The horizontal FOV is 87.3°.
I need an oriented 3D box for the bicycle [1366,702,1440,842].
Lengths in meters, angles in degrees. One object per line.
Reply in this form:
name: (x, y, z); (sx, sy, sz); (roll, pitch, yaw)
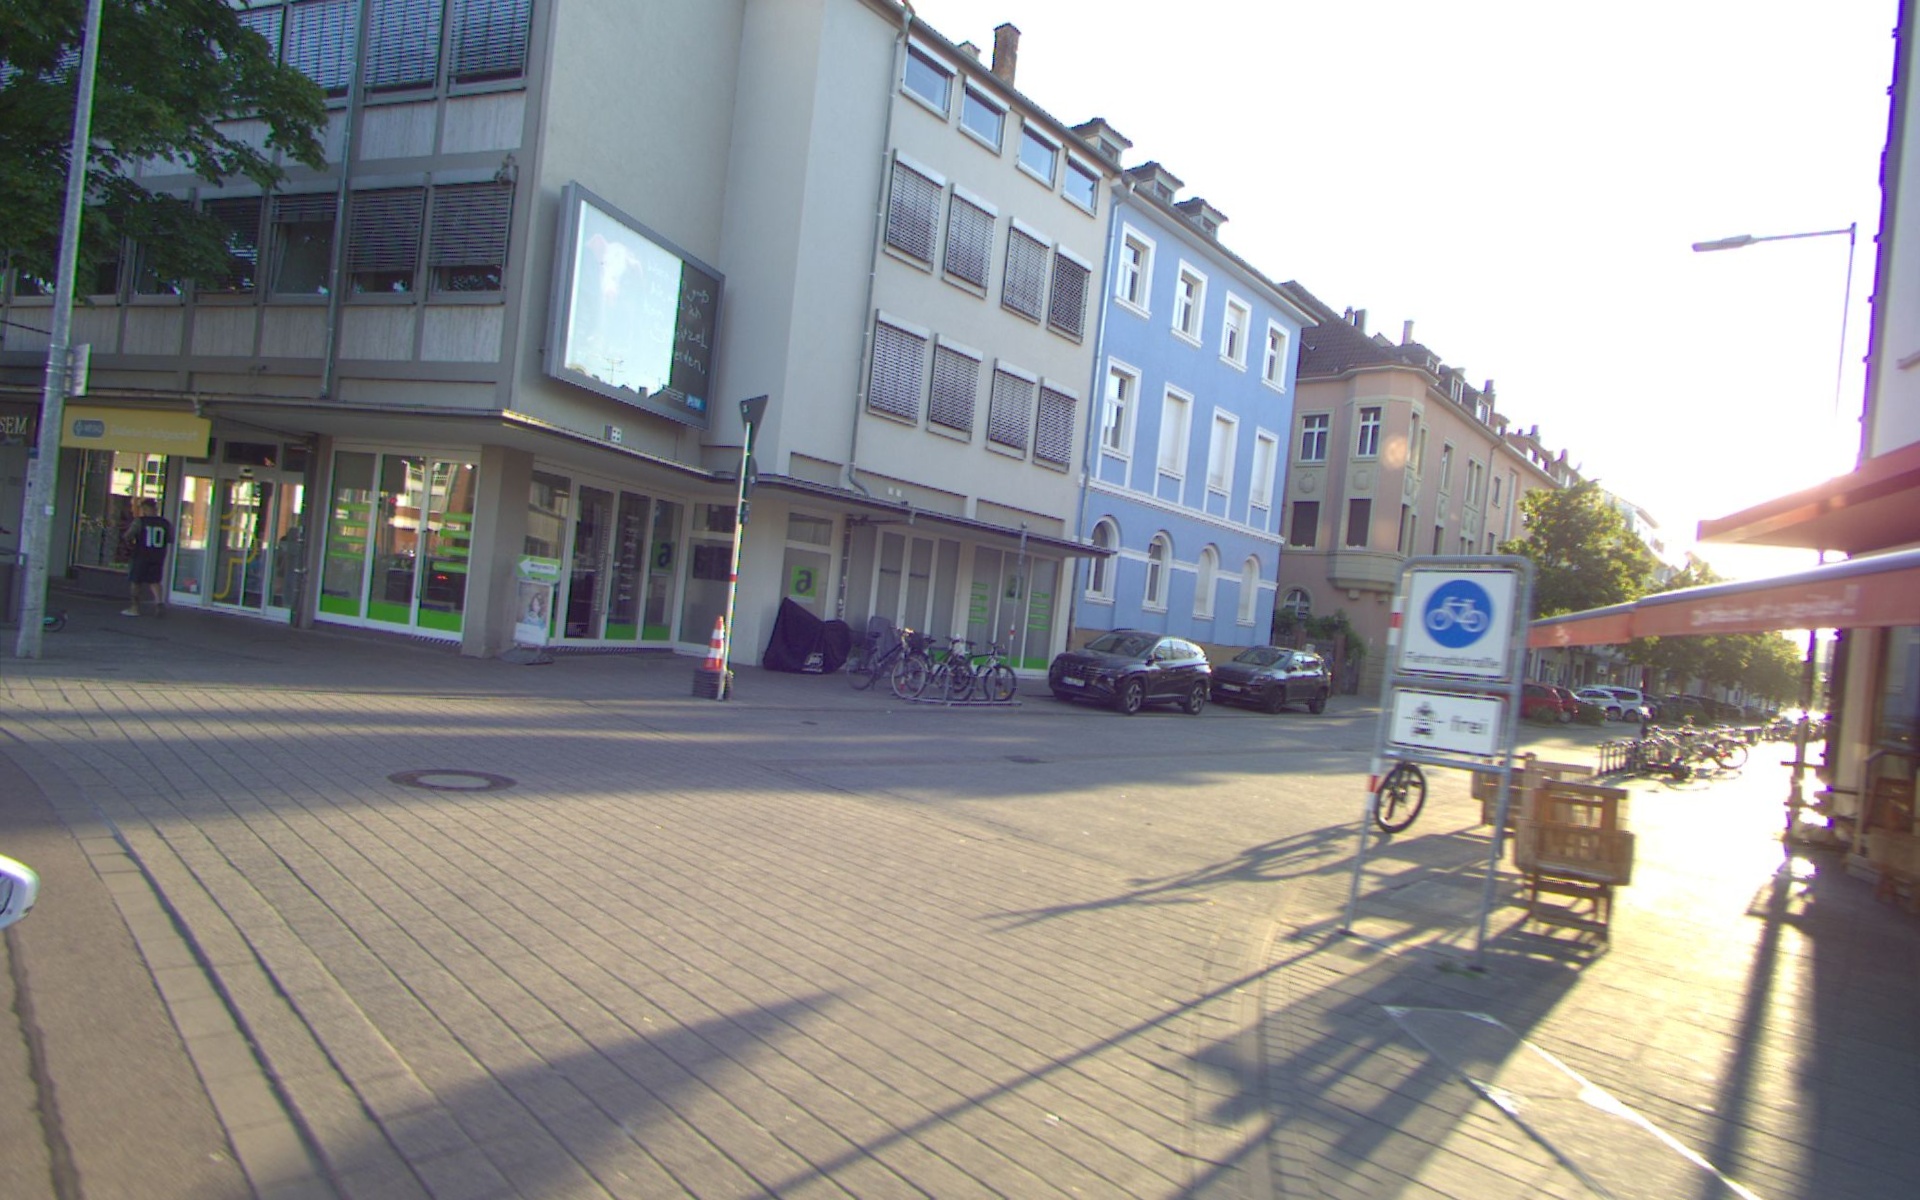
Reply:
bicycle: (4.473, 1.680, 10.213); (0.526, 1.173, 1.910); (6, -1, 23)

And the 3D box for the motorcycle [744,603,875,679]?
motorcycle: (-2.711, 0.765, 18.340); (0.799, 1.182, 2.283); (6, -1, 42)

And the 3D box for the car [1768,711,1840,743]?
car: (43.775, 6.575, 52.203); (1.441, 1.260, 2.655); (9, -3, -44)

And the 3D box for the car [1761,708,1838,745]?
car: (40.447, 6.095, 48.470); (1.441, 1.375, 2.655); (9, -3, -44)

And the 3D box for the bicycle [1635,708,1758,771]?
bicycle: (17.869, 3.367, 24.455); (2.309, 1.158, 0.527); (5, -2, 38)

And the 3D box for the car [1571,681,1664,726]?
car: (37.384, 5.864, 57.313); (3.924, 2.037, 1.848); (6, -2, 16)

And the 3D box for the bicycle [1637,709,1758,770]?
bicycle: (18.224, 3.428, 24.912); (2.309, 1.153, 0.527); (5, -2, 38)

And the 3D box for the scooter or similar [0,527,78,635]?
scooter or similar: (-11.467, -0.250, 12.084); (1.205, 1.232, 0.293); (5, -1, -25)

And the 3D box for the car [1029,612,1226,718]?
car: (3.693, 1.443, 21.559); (1.893, 1.772, 4.417); (9, 0, 43)

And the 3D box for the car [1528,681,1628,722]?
car: (32.446, 5.310, 52.937); (3.924, 1.526, 2.001); (6, 0, 16)

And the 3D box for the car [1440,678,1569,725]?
car: (22.219, 4.120, 41.161); (4.074, 1.361, 2.003); (6, -2, 5)

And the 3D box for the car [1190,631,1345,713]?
car: (8.186, 1.937, 26.626); (4.237, 1.641, 1.974); (7, 3, -45)

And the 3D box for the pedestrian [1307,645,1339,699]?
pedestrian: (12.295, 2.453, 34.077); (0.662, 1.731, 0.711); (7, 1, 41)

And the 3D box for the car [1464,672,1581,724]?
car: (24.302, 4.216, 43.602); (3.924, 1.638, 2.001); (6, 0, 16)

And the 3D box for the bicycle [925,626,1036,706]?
bicycle: (0.352, 1.189, 18.328); (1.891, 1.126, 0.626); (10, 1, 38)

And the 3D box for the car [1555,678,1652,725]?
car: (35.166, 5.524, 55.076); (3.924, 1.999, 1.869); (6, -2, 16)

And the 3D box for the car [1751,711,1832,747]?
car: (38.032, 5.894, 46.013); (1.441, 1.260, 2.655); (9, -3, -44)

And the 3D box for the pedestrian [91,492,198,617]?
pedestrian: (-12.149, -0.668, 14.998); (0.878, 1.703, 0.749); (6, -2, 21)

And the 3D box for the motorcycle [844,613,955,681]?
motorcycle: (-1.178, 0.964, 20.117); (0.729, 1.172, 2.263); (6, -1, 42)

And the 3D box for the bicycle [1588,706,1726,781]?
bicycle: (14.657, 2.994, 21.206); (2.310, 1.247, 0.603); (4, -1, 38)

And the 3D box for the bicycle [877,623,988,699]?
bicycle: (-0.506, 1.058, 17.714); (1.892, 1.125, 0.626); (5, -2, 38)

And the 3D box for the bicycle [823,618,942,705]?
bicycle: (-1.306, 1.001, 16.673); (1.976, 1.127, 0.583); (8, 2, 38)
